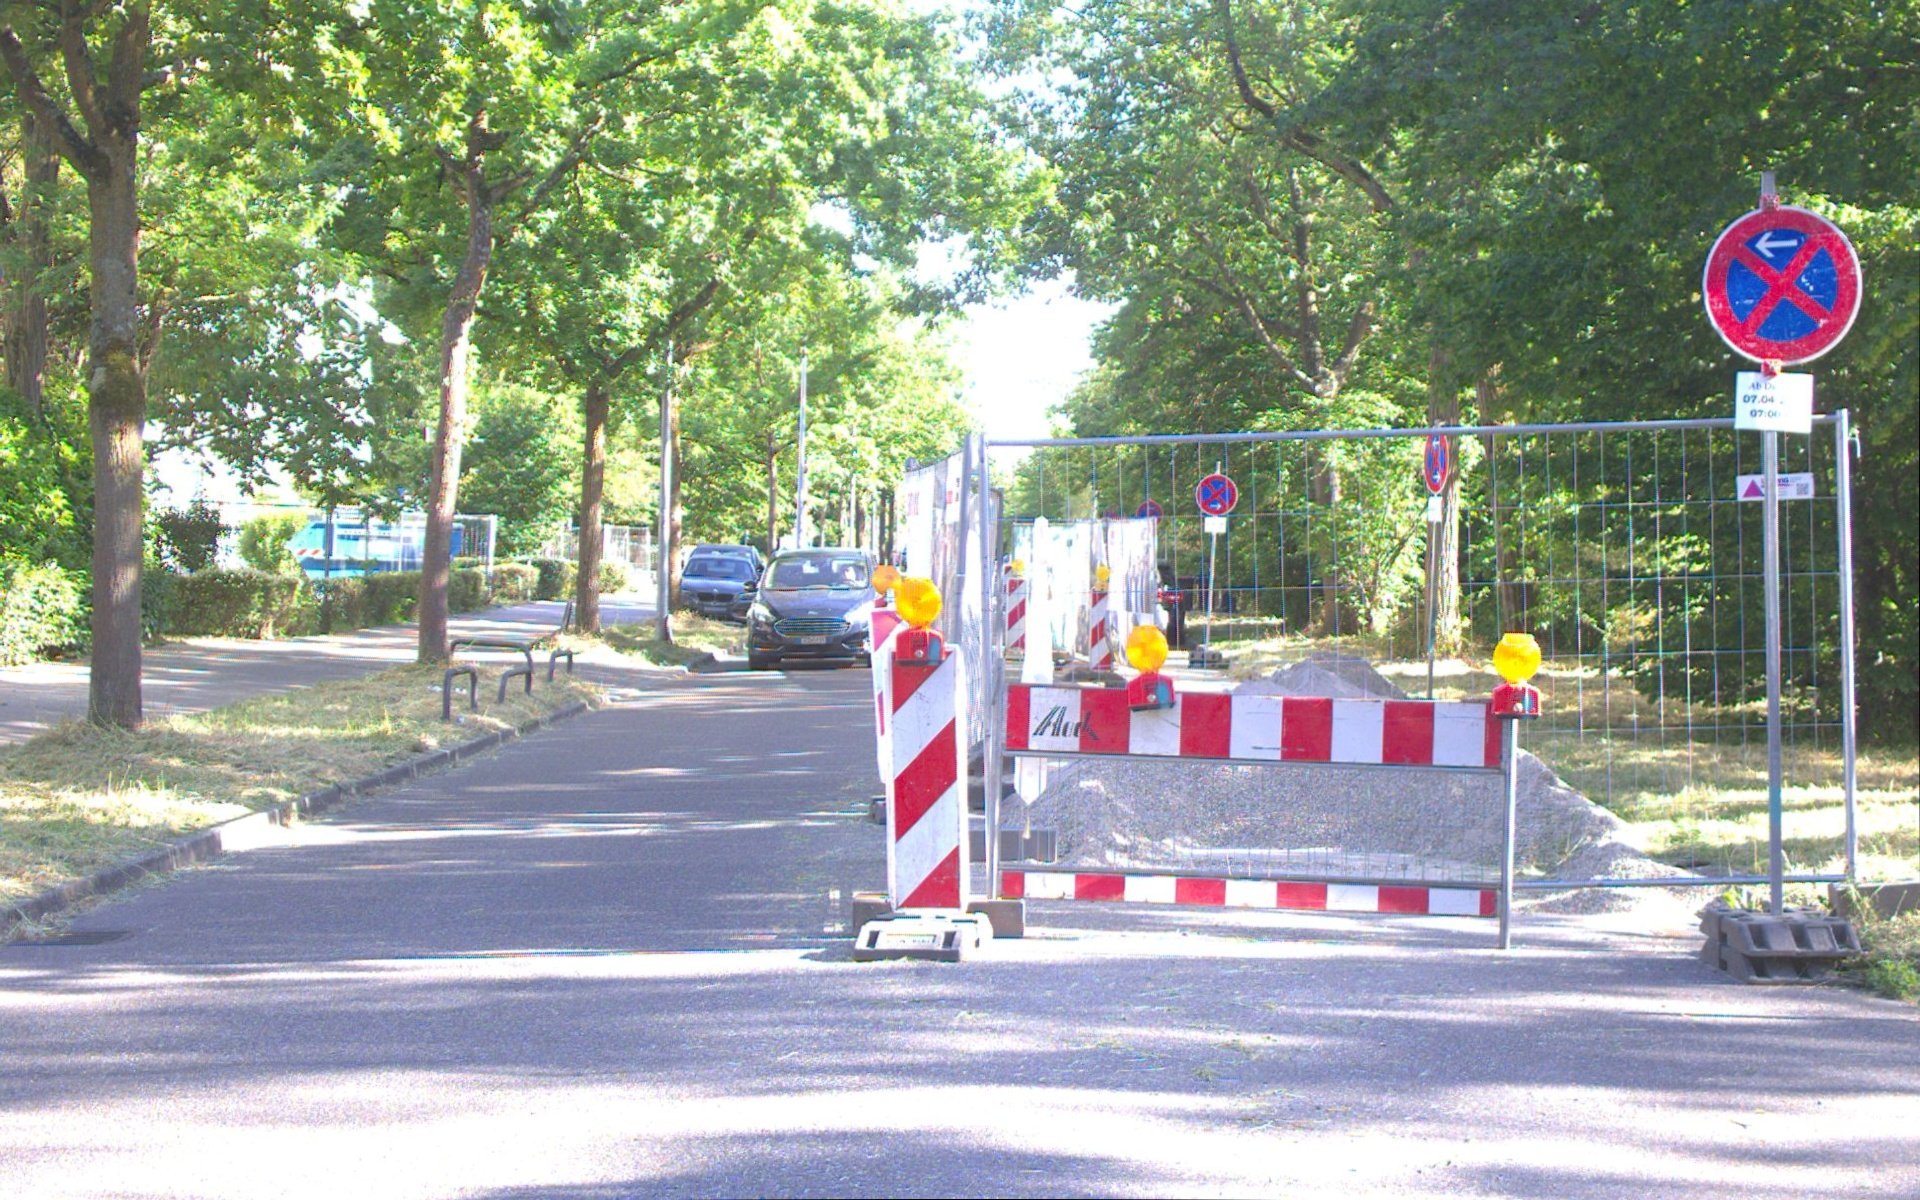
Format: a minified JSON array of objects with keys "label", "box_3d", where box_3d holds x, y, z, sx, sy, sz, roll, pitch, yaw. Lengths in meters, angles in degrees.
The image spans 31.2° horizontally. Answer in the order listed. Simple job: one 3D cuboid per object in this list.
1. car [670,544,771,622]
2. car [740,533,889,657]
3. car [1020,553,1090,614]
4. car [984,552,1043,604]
[{"label":"car","box_3d":[-4.708,-0.353,67.992,1.751,1.473,3.836,1,1,-1]},{"label":"car","box_3d":[-1.987,-0.098,47.993,1.821,1.619,4.492,-1,1,1]},{"label":"car","box_3d":[2.127,-0.375,77.612,1.361,1.298,3.481,2,0,-2]},{"label":"car","box_3d":[1.384,-0.561,90.592,1.361,1.298,3.481,2,0,-2]}]
